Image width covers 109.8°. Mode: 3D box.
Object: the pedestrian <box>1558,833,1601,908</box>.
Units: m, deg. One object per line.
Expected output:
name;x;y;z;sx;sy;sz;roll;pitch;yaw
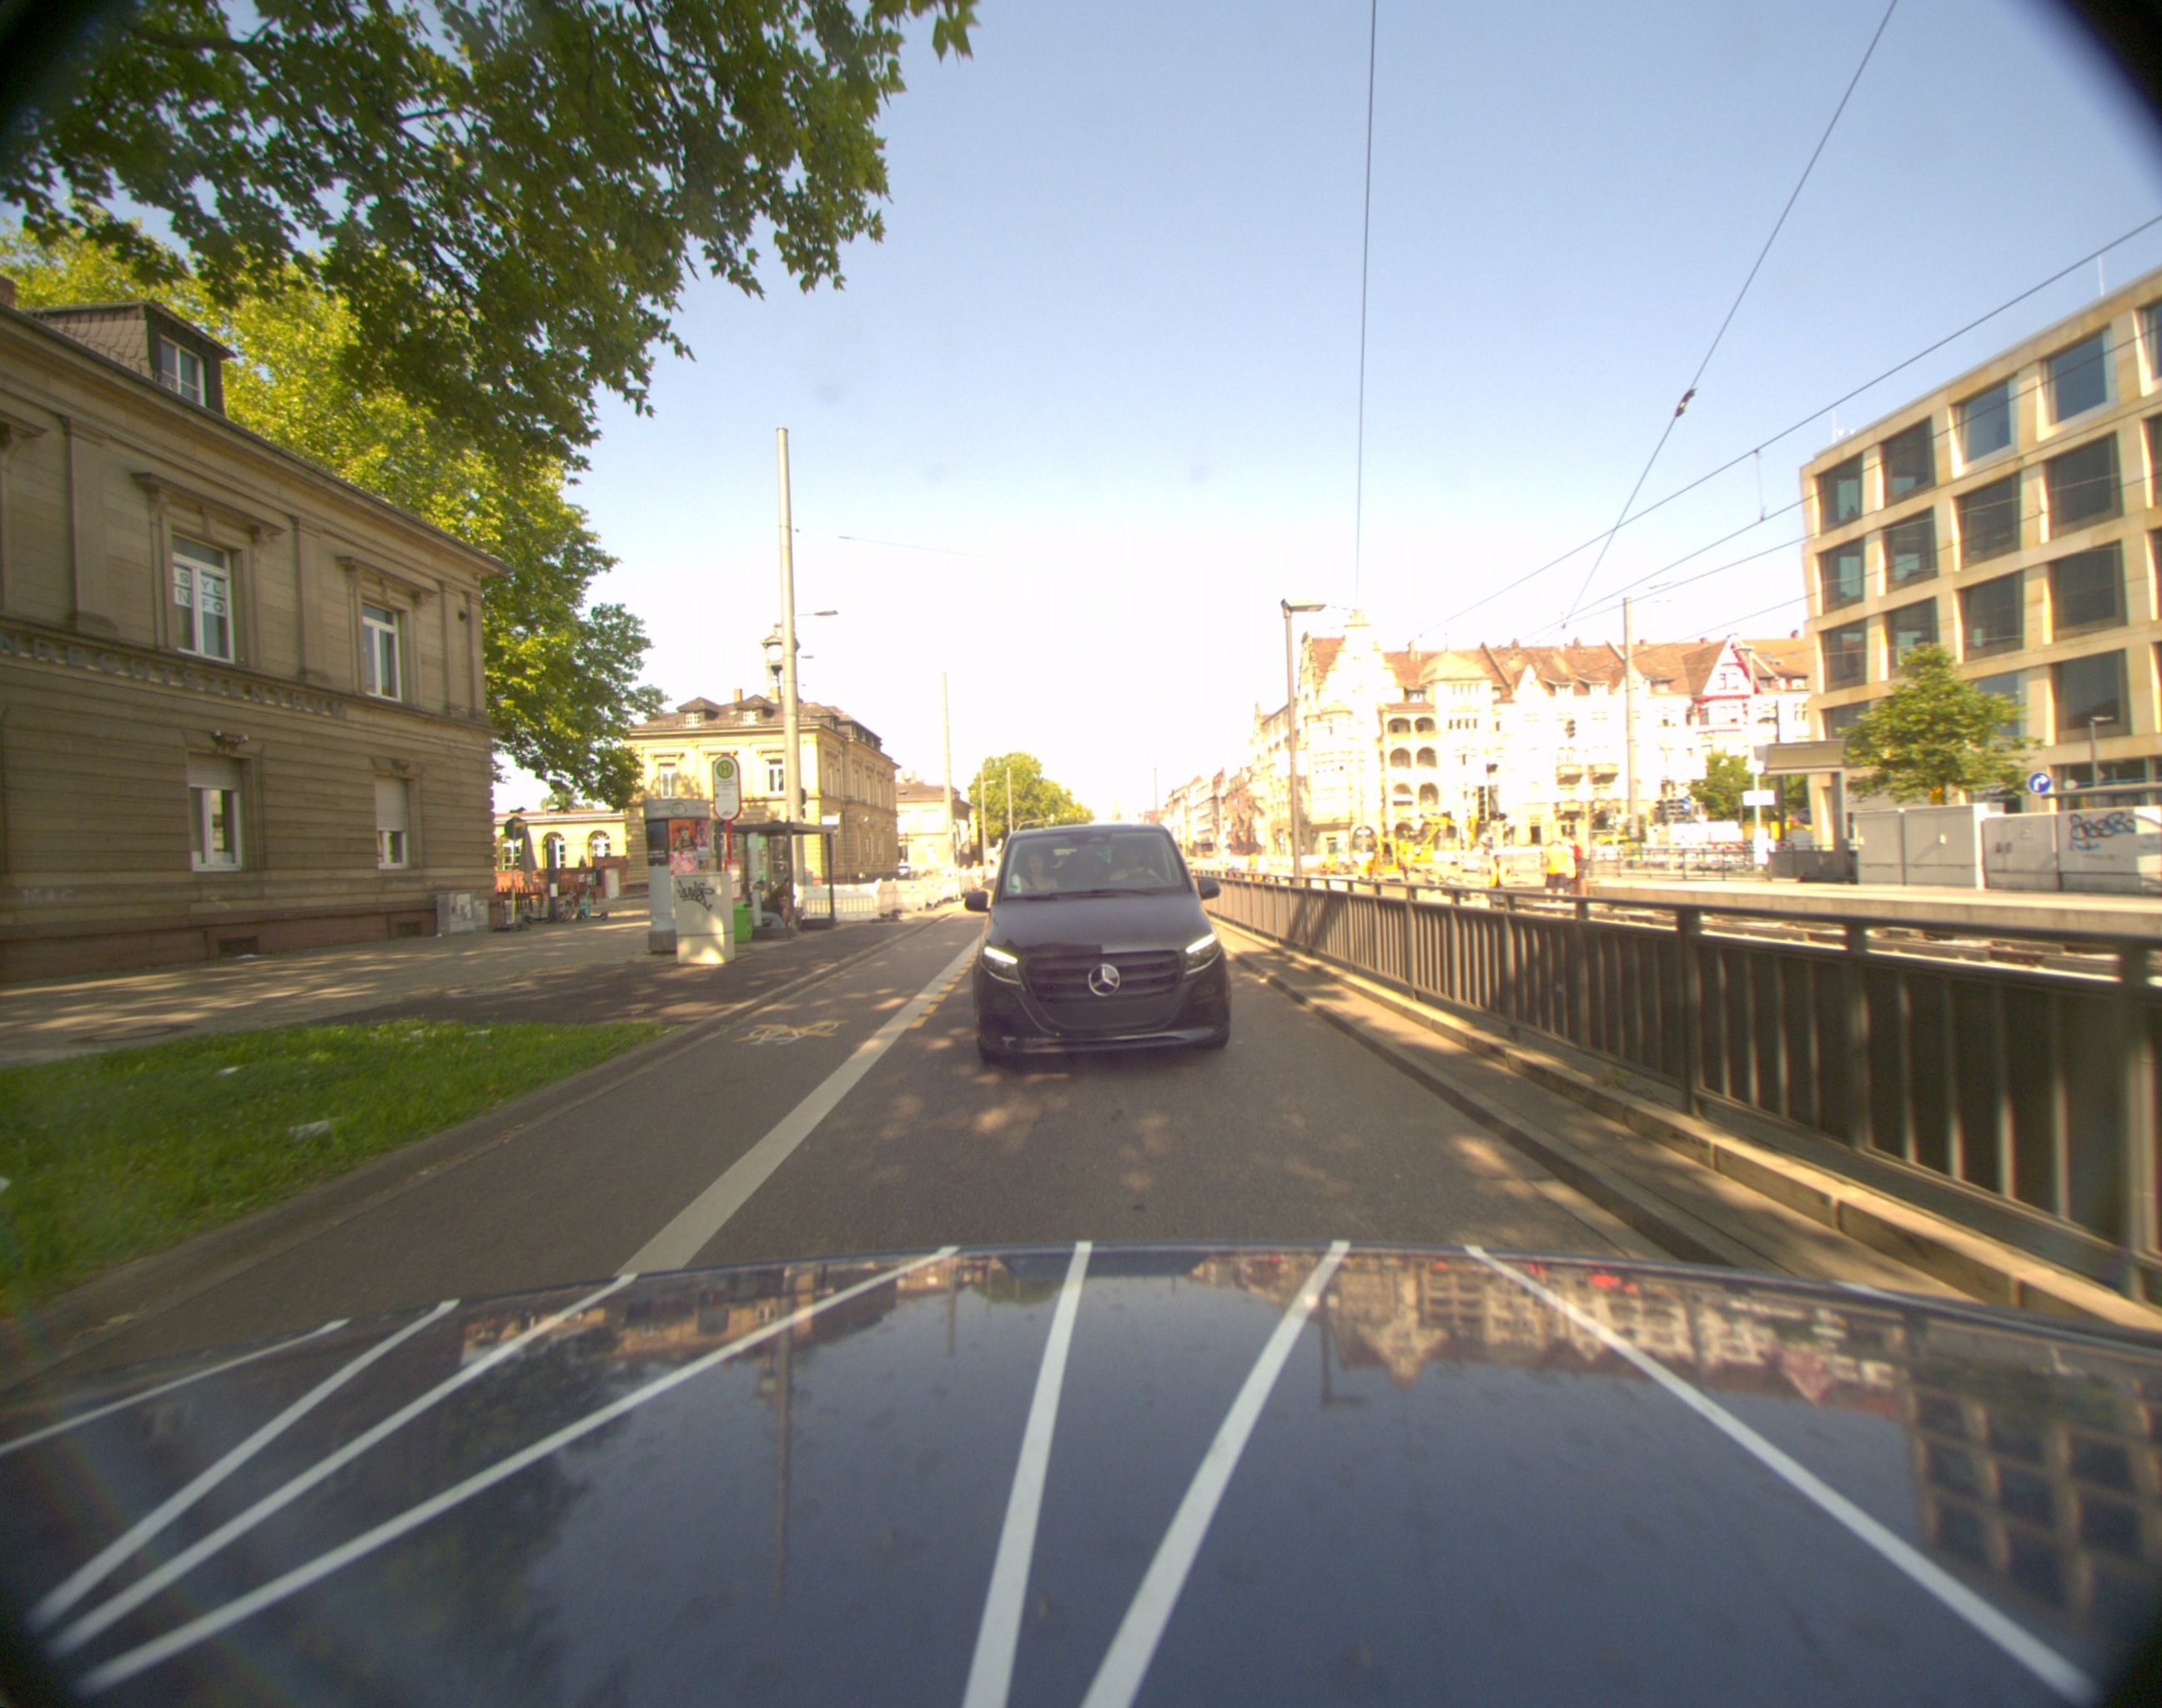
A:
pedestrian;12.373;0.404;18.859;0.627;1.805;0.639;-2;0;-33

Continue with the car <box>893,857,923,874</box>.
car;-19.723;1.352;86.721;1.907;1.772;4.229;-1;-2;8

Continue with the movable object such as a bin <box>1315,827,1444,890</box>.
movable object such as a bin;16.125;0.166;41.956;3.623;2.941;8.474;-3;1;0

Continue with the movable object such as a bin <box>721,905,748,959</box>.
movable object such as a bin;-6.192;1.389;13.588;0.272;0.910;0.386;-2;0;-2

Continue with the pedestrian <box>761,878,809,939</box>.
pedestrian;-6.597;1.204;16.954;0.743;1.254;0.611;-3;1;-1

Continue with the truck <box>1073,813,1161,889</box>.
truck;1.897;-0.088;44.600;2.802;3.889;8.410;-4;0;-12

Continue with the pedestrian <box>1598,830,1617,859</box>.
pedestrian;37.849;-0.656;54.622;0.900;2.052;0.668;-3;1;-24

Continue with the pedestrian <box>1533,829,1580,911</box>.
pedestrian;11.549;0.395;18.489;0.724;1.939;0.789;-2;0;14

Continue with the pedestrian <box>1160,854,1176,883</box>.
pedestrian;4.813;0.801;41.913;0.762;1.557;0.691;-2;0;-1

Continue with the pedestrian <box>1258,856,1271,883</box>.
pedestrian;10.711;0.923;44.395;0.701;1.557;0.557;-2;0;14

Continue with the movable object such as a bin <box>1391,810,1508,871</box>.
movable object such as a bin;28.770;-1.048;59.834;7.369;4.322;4.973;-2;1;13

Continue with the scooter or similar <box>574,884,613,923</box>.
scooter or similar;-16.305;1.636;25.446;0.426;1.221;1.174;-2;0;7

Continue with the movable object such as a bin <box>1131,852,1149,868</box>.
movable object such as a bin;5.836;0.591;75.715;1.604;1.550;3.286;-2;0;1

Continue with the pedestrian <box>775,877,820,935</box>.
pedestrian;-6.597;1.192;17.694;0.743;1.254;0.611;-3;1;-1

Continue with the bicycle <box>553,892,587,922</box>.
bicycle;-17.660;1.820;26.280;0.493;0.993;1.816;-2;-2;-19

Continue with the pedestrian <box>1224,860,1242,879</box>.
pedestrian;7.700;0.801;38.494;0.820;0.920;0.513;-2;0;16

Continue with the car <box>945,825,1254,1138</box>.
car;0.075;0.789;6.886;1.853;1.875;4.177;-3;1;-1

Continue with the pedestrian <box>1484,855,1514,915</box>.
pedestrian;11.845;0.870;21.530;0.667;1.653;0.773;-2;0;33

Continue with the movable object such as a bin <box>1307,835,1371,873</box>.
movable object such as a bin;20.540;-0.004;60.382;4.825;2.818;2.443;-2;1;-37

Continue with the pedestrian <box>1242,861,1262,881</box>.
pedestrian;8.751;0.869;38.867;0.513;0.982;0.933;-2;0;-28

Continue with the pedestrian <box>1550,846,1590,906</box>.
pedestrian;12.990;0.572;20.201;0.642;1.545;0.625;-2;0;-27

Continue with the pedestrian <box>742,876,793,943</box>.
pedestrian;-6.707;1.173;16.283;0.752;1.358;0.611;-3;1;-1

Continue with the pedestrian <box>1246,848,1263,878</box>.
pedestrian;9.244;0.475;40.441;0.817;1.557;0.557;-2;0;9

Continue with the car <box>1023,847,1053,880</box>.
car;-3.512;0.728;61.656;2.213;2.410;7.197;-2;0;-3
